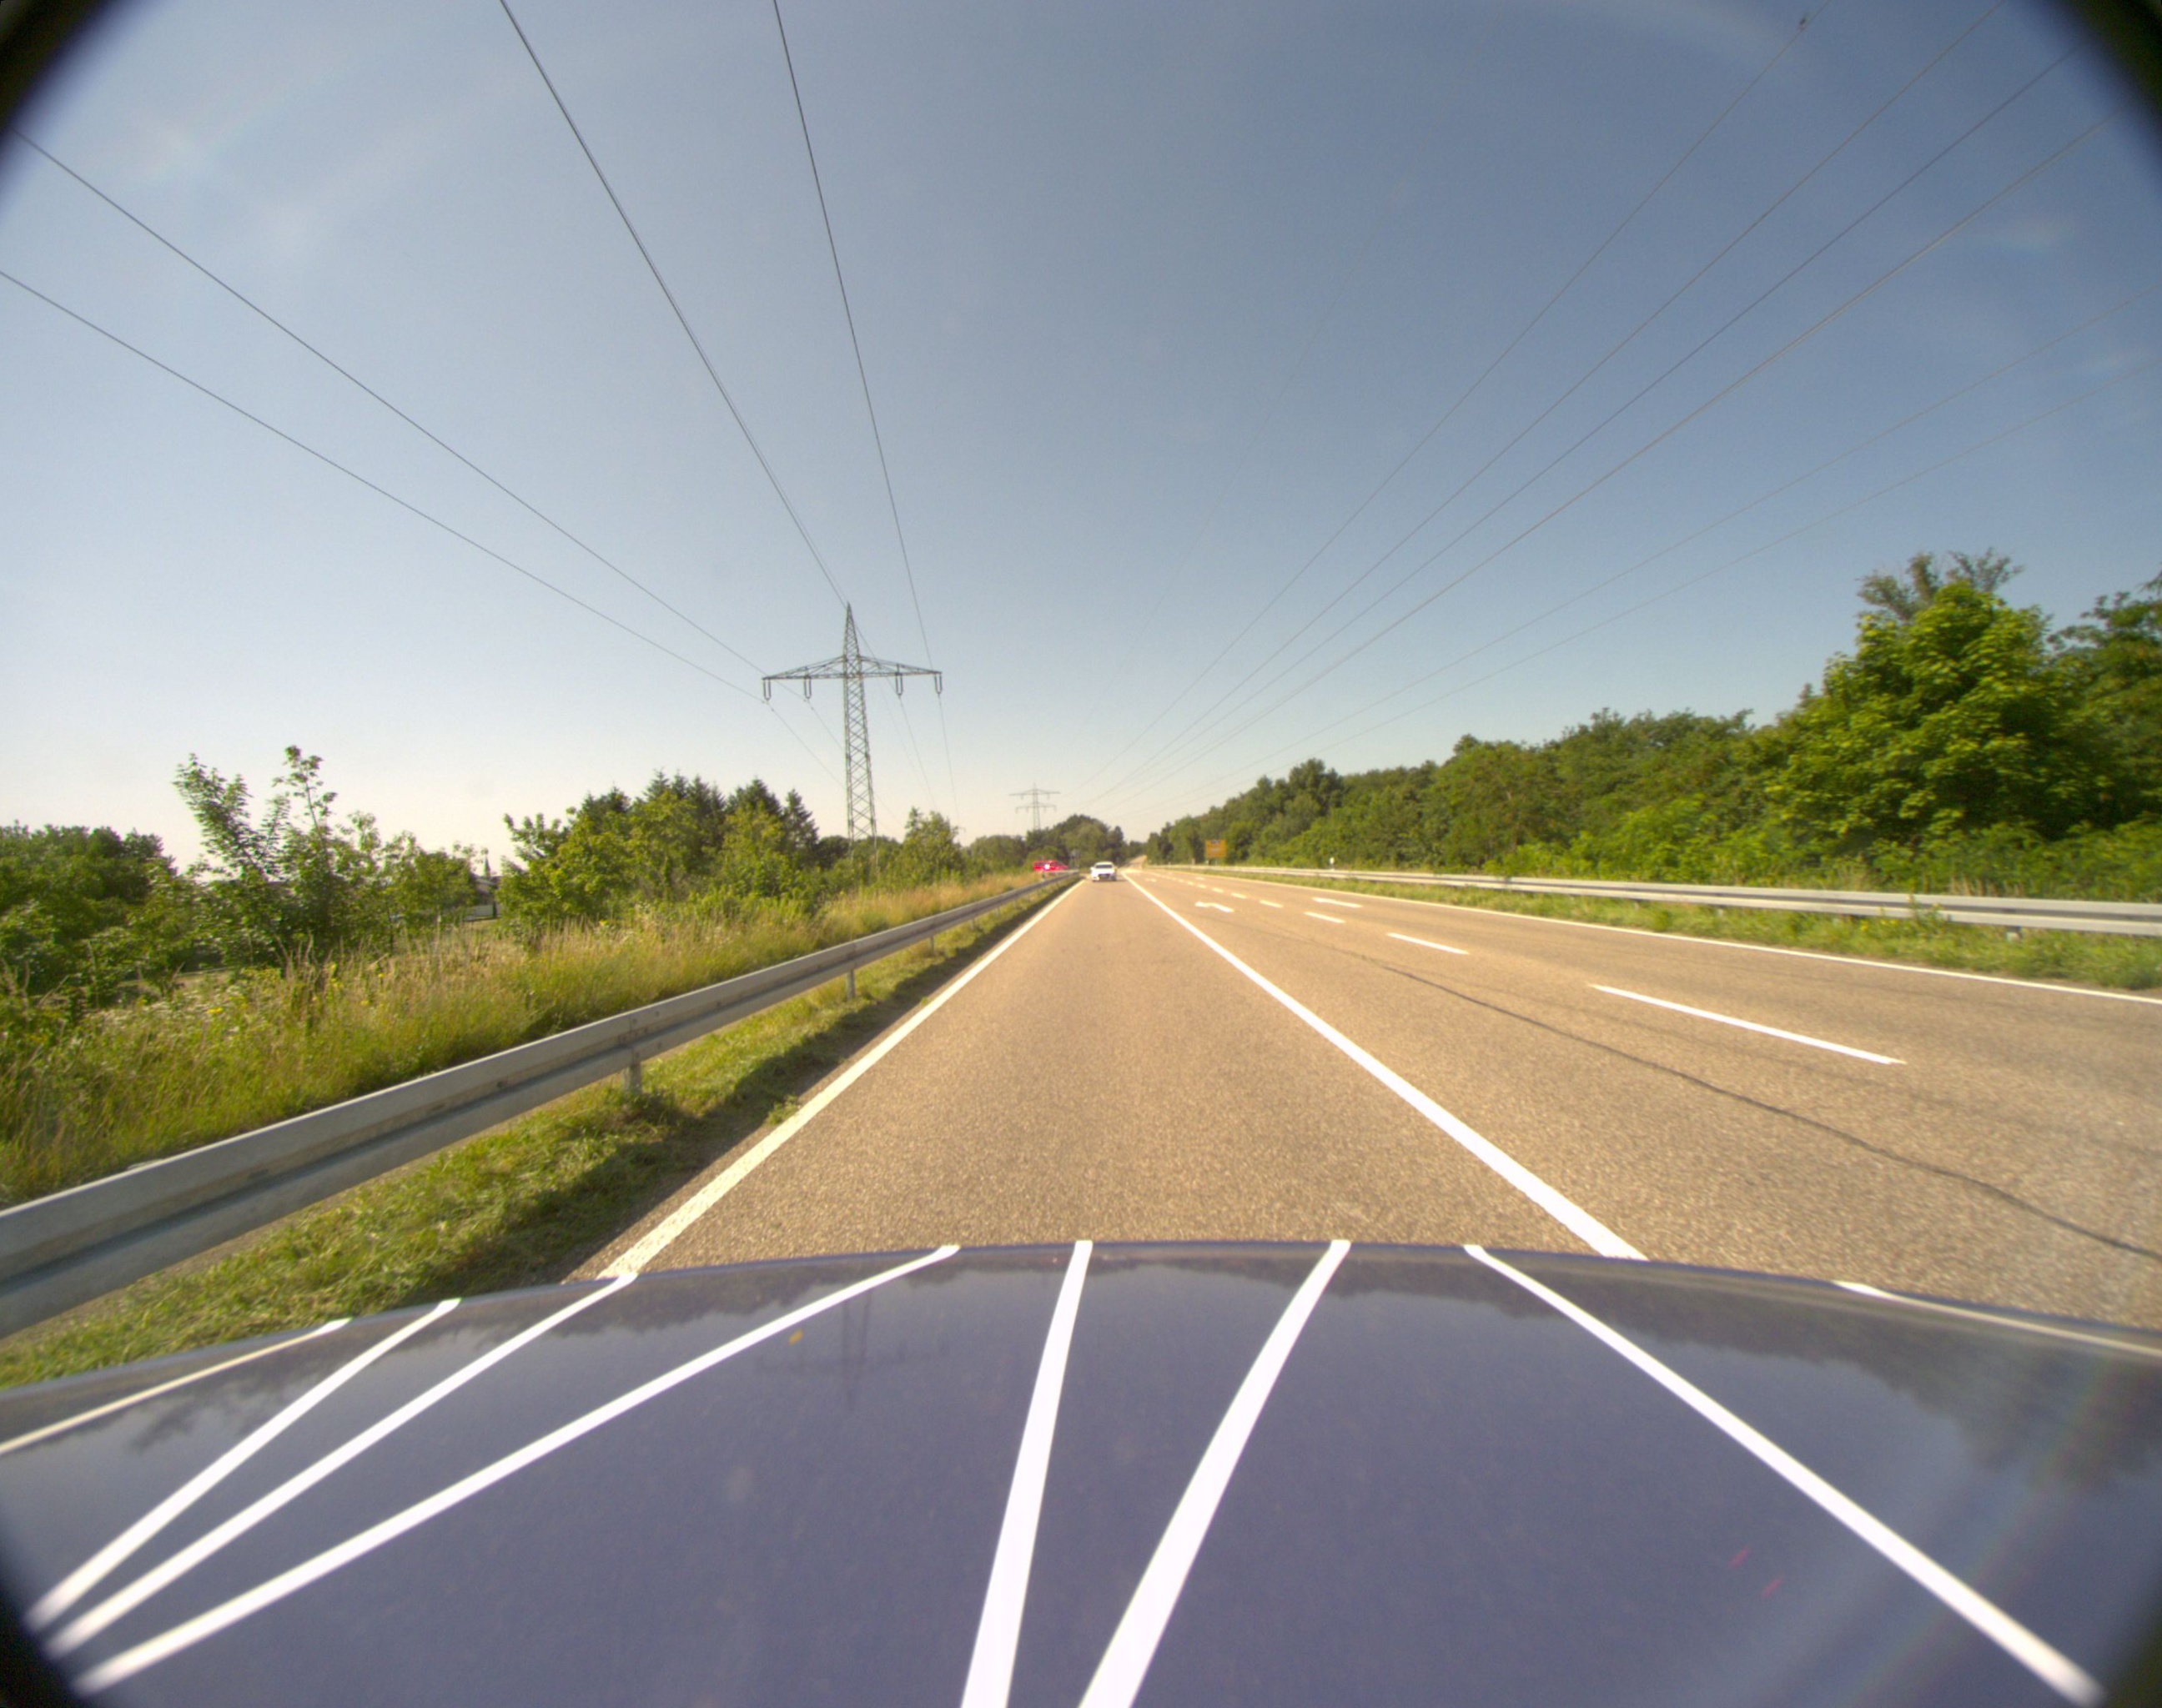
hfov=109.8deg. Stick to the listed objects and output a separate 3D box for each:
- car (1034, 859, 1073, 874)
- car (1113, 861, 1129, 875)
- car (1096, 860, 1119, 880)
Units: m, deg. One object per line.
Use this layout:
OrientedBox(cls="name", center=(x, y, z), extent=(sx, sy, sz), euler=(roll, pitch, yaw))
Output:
OrientedBox(cls="car", center=(-3.540, 1.631, 97.688), extent=(4.825, 1.892, 1.799), euler=(-1, 0, 28))
OrientedBox(cls="car", center=(4.369, 1.539, 83.302), extent=(1.549, 1.460, 3.661), euler=(-2, 0, 0))
OrientedBox(cls="car", center=(2.069, 1.207, 60.132), extent=(1.683, 1.471, 4.474), euler=(-1, 0, 1))
